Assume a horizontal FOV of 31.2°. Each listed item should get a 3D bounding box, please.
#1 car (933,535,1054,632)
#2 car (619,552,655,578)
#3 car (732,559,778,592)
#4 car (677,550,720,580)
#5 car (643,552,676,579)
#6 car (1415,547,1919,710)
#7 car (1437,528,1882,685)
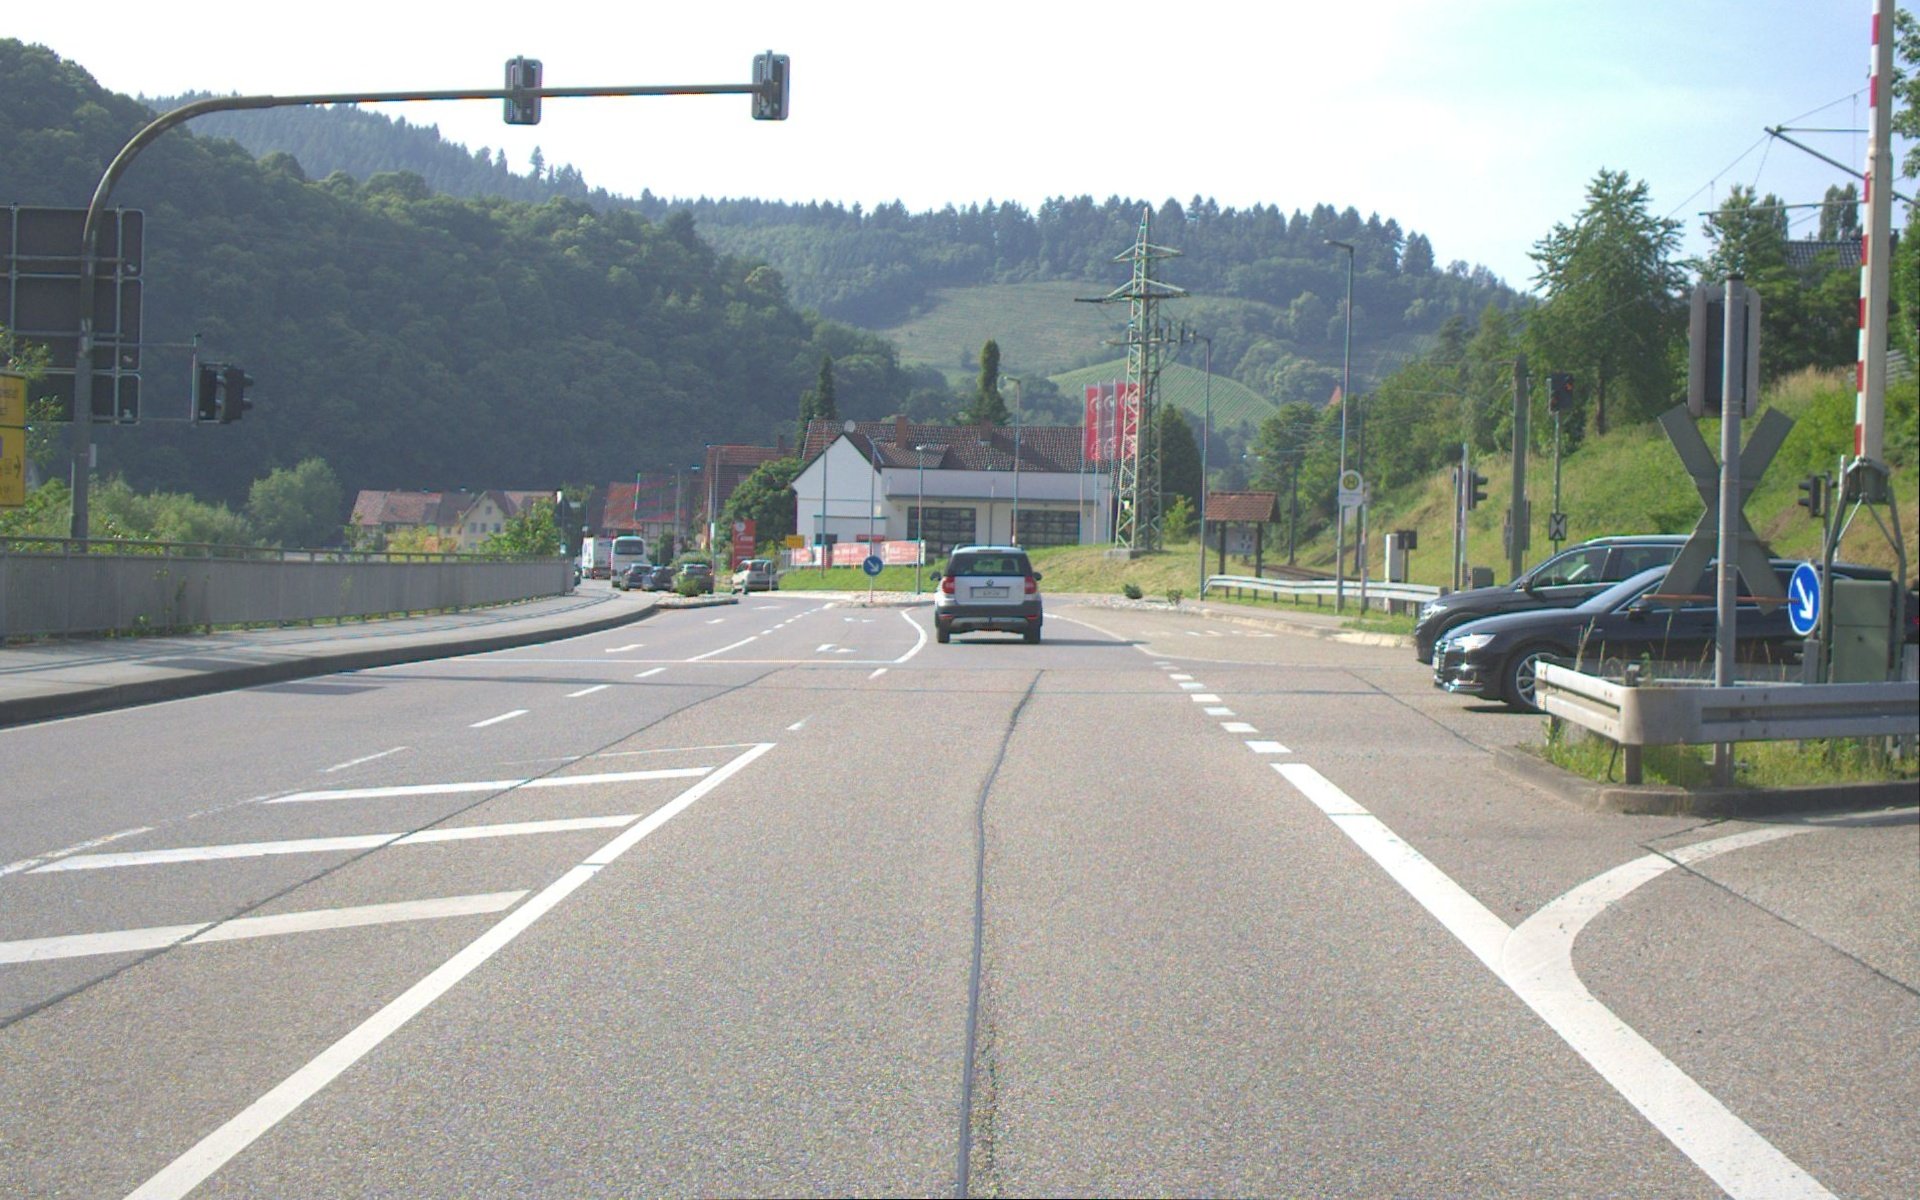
[{"bbox_3d":[0.609,-0.266,59.087,1.861,1.539,4.373,2,0,3],"label":"car"},{"bbox_3d":[-19.211,-2.083,204.463,1.453,1.430,2.937,2,1,-18],"label":"car"},{"bbox_3d":[-9.465,-1.141,158.594,1.453,1.430,2.937,2,1,-17],"label":"car"},{"bbox_3d":[-13.276,-1.776,174.635,1.453,1.430,2.937,2,1,-18],"label":"car"},{"bbox_3d":[-16.459,-1.902,188.054,1.232,1.430,2.641,-1,2,-18],"label":"car"},{"bbox_3d":[6.695,0.243,32.058,4.726,1.465,1.842,0,1,3],"label":"car"},{"bbox_3d":[7.829,0.046,38.370,4.730,1.654,1.929,1,1,16],"label":"car"}]
